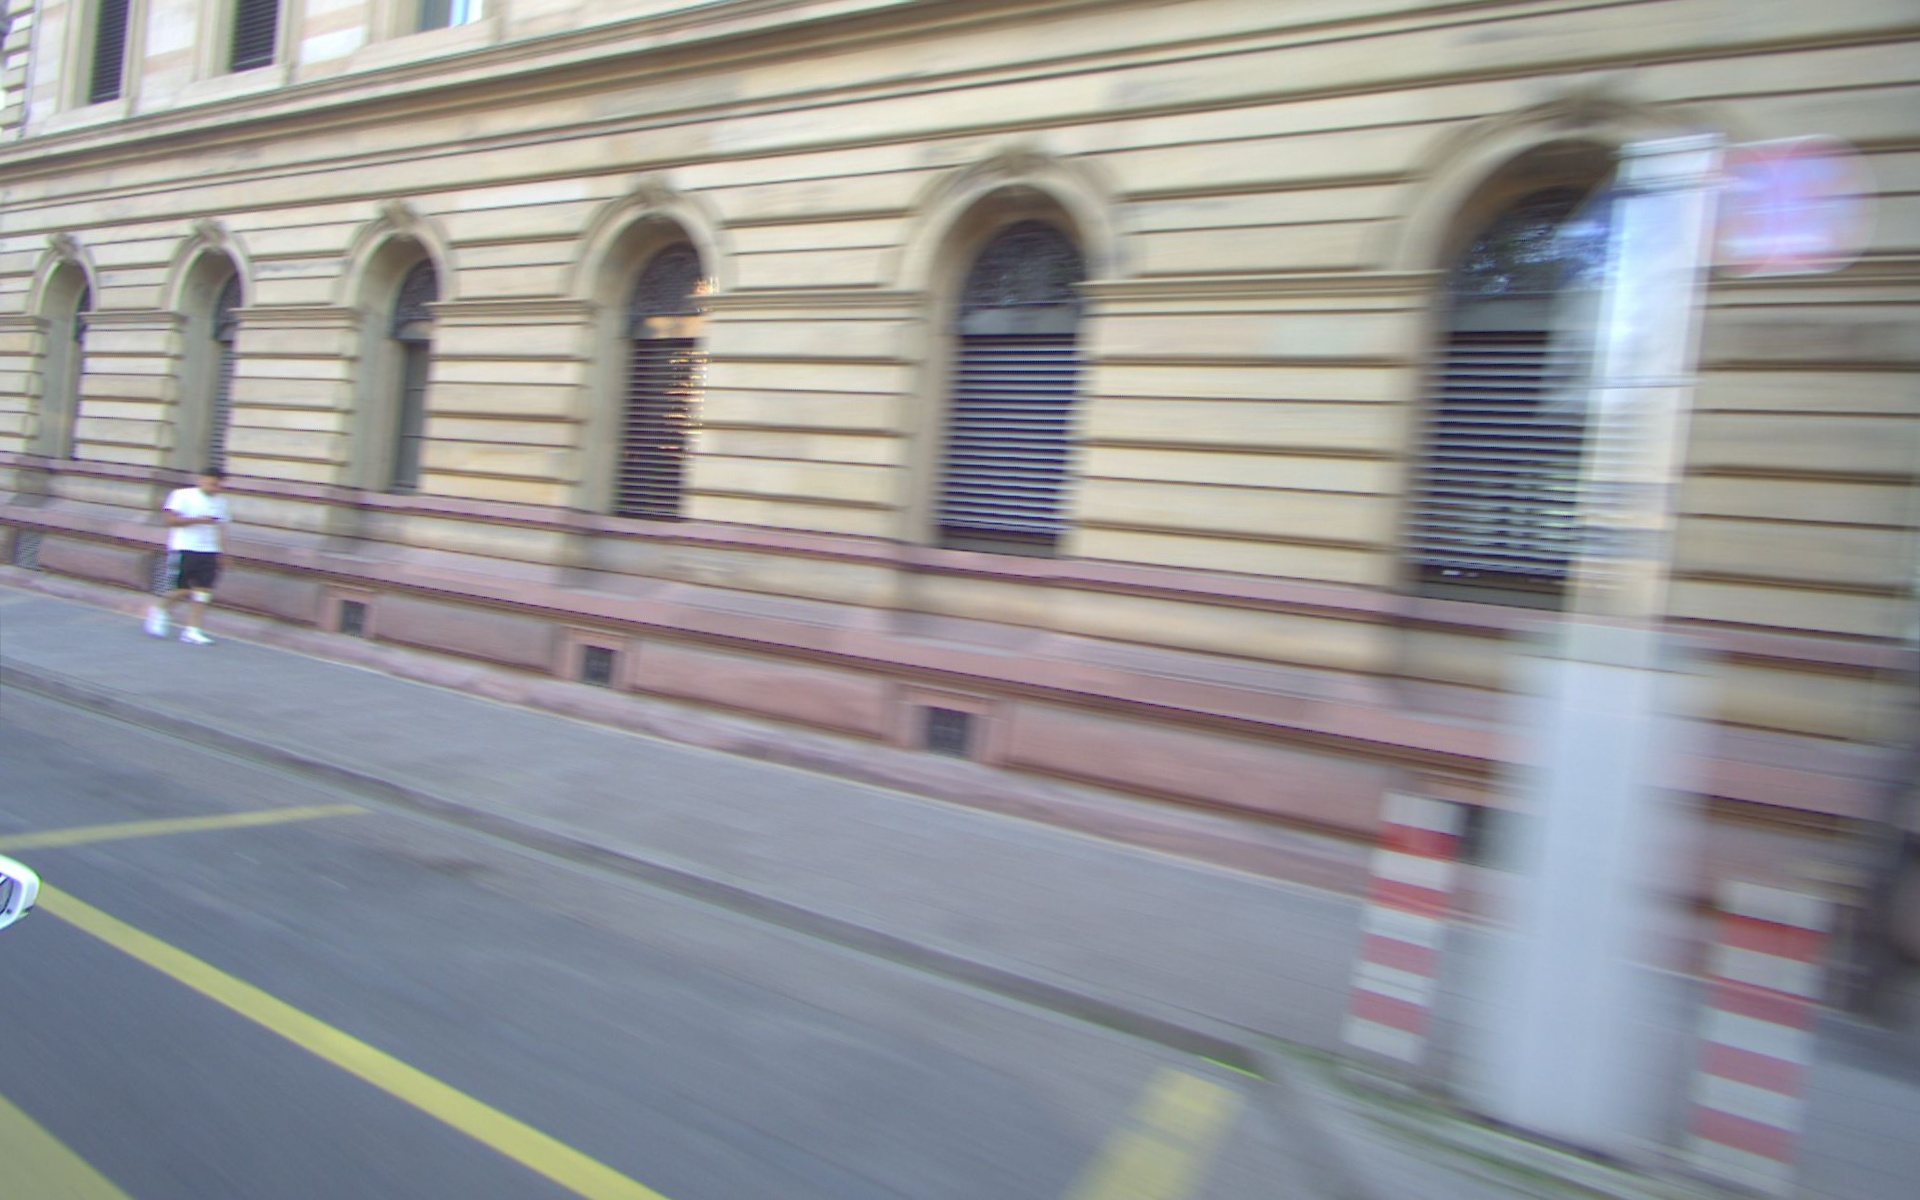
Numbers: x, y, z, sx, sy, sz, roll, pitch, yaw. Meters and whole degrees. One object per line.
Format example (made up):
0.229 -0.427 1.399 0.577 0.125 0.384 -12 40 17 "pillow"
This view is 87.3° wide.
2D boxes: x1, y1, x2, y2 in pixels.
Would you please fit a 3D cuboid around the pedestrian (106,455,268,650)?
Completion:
-7.793 -0.475 10.154 1.020 1.786 0.818 8 0 31 "pedestrian"
